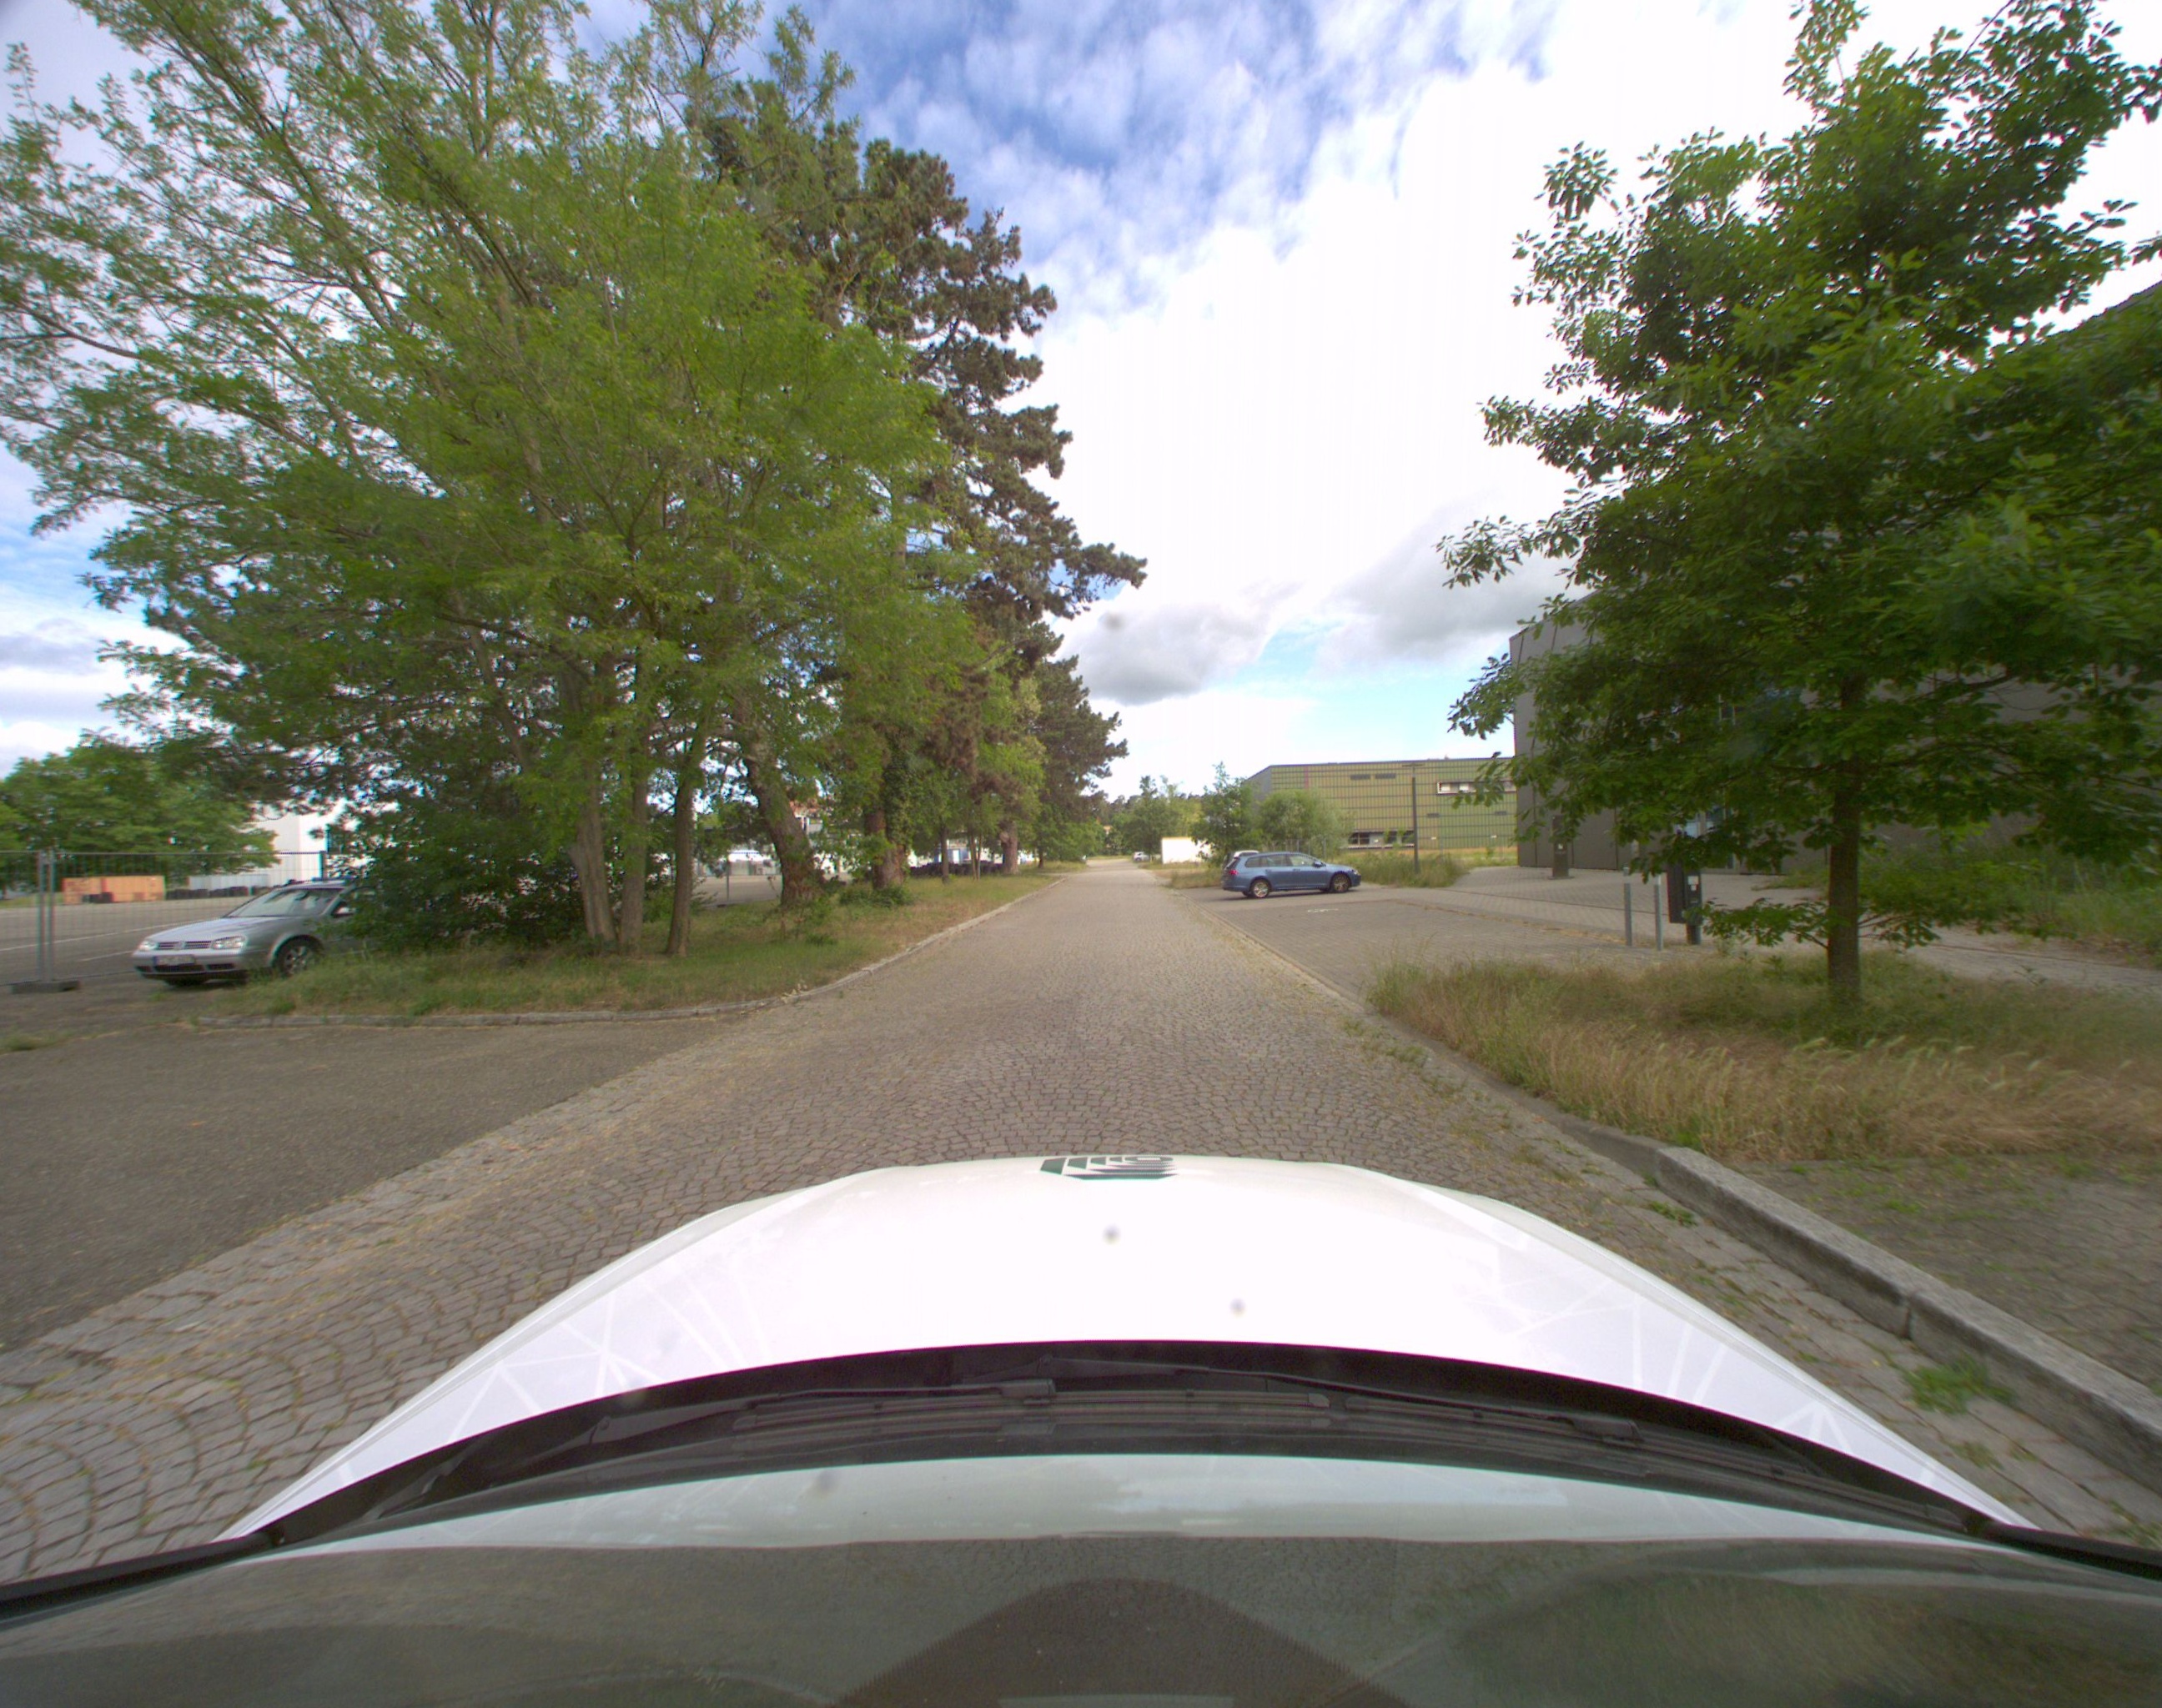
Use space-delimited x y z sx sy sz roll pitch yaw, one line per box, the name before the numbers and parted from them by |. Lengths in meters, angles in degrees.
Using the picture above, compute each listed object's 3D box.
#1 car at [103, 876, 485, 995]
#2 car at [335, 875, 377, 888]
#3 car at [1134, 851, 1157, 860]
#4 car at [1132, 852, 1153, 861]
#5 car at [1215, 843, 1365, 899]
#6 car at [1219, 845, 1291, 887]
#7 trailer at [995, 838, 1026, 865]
car | -12.177 1.152 13.139 1.818 1.416 4.421 -2 0 0
car | -98.693 3.724 110.865 4.088 1.633 1.832 -2 0 3
car | 11.574 0.260 146.974 3.968 1.448 1.654 -4 0 2
car | 10.921 0.387 144.298 3.508 1.362 1.624 -4 0 2
car | 6.886 0.556 27.138 4.477 1.475 1.830 -4 0 -1
car | 7.375 0.506 34.640 2.698 1.556 1.655 -4 0 3
trailer | -9.871 -0.337 114.808 2.613 3.598 10.190 -2 0 5
